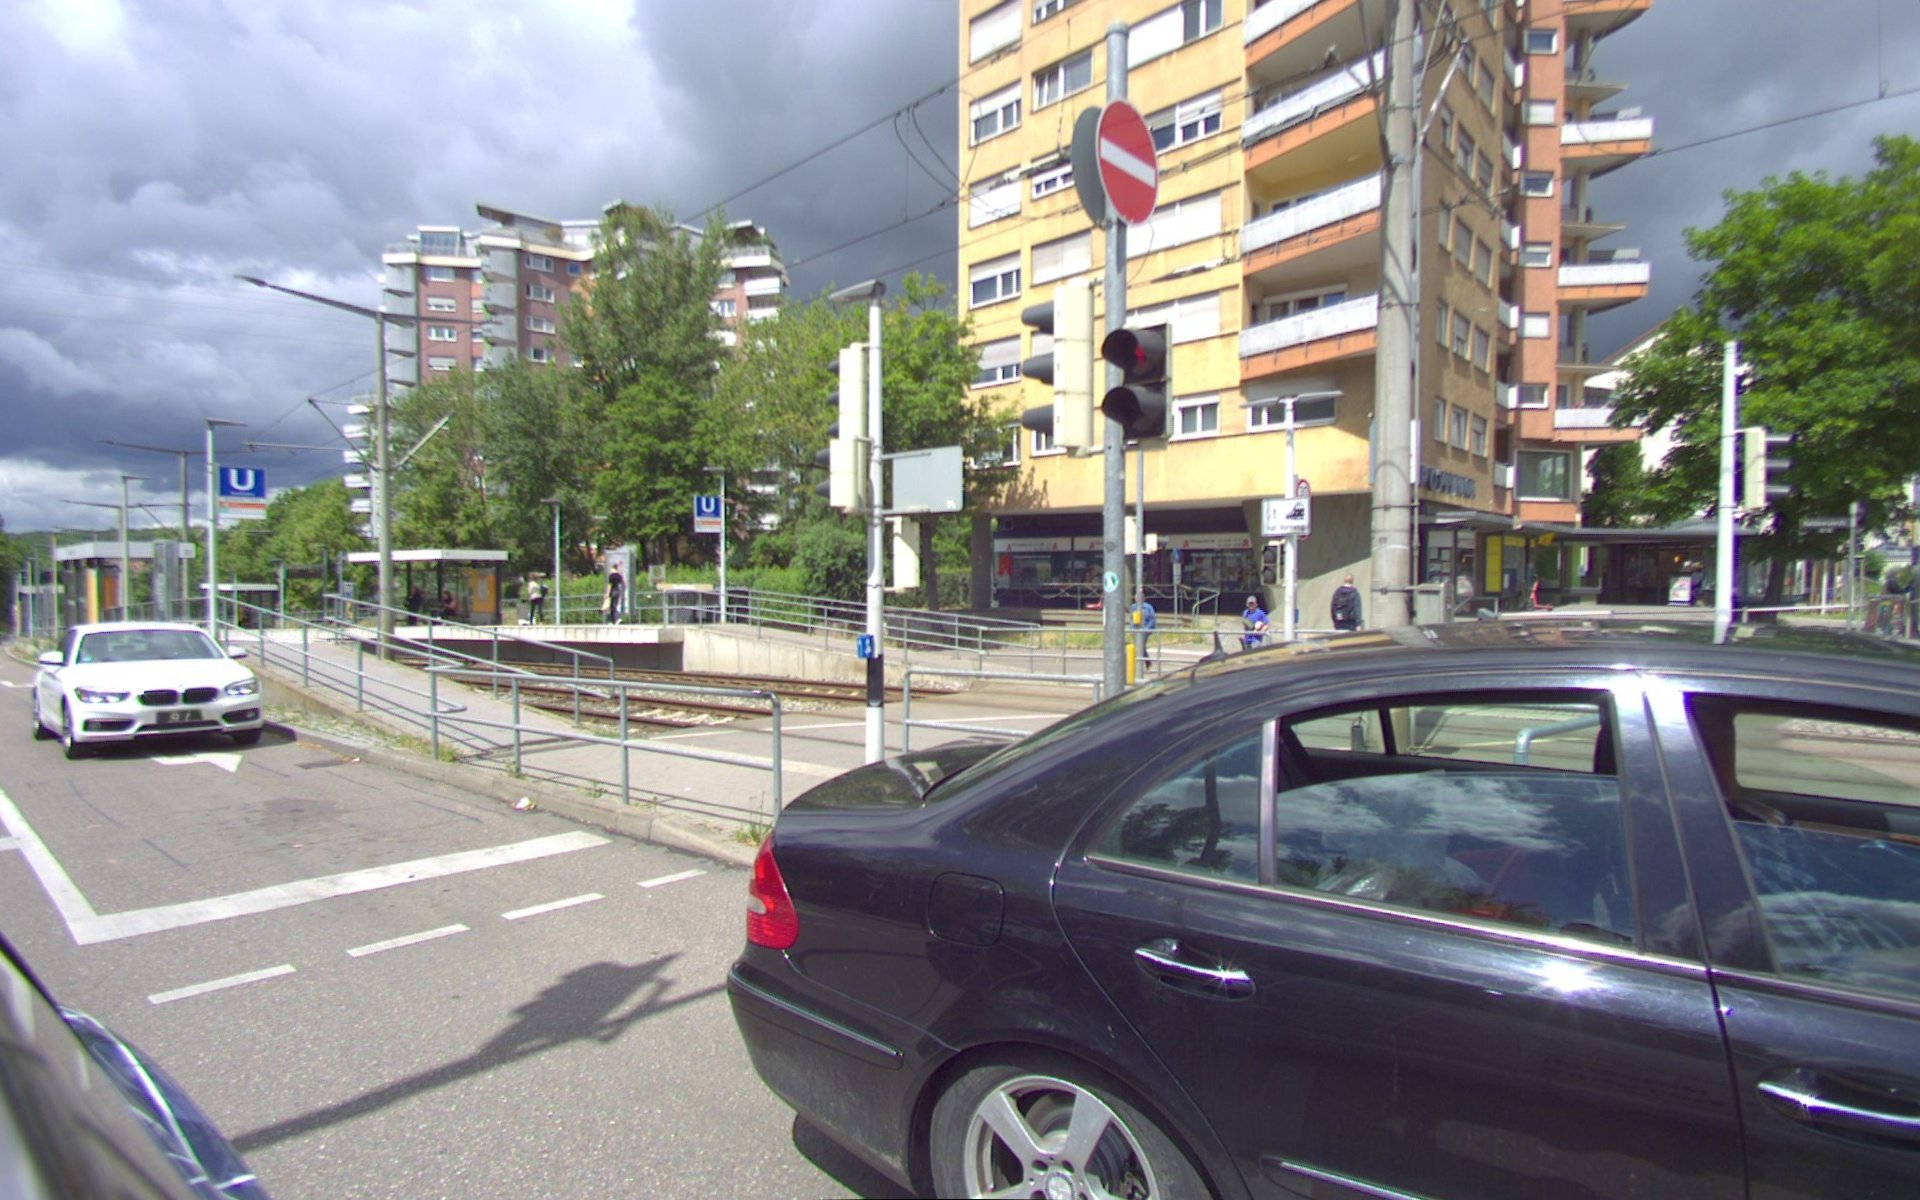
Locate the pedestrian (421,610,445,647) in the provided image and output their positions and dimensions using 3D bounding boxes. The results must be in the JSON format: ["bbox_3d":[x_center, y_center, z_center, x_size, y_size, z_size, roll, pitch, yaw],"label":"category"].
[{"bbox_3d":[-20.406,1.095,39.210,0.658,1.425,0.637,-1,-1,42],"label":"pedestrian"}]

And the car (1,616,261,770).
[{"bbox_3d":[-9.918,0.942,11.985,4.275,1.462,1.770,0,-1,42],"label":"car"}]

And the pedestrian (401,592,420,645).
[{"bbox_3d":[-22.420,0.740,41.268,0.524,2.157,0.608,0,-1,-45],"label":"pedestrian"}]

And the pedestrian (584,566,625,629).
[{"bbox_3d":[-10.199,-0.064,29.034,0.747,1.787,0.854,-1,-1,41],"label":"pedestrian"}]

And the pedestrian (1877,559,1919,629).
[{"bbox_3d":[25.039,-0.147,26.878,0.637,1.825,0.884,-1,-1,14],"label":"pedestrian"}]

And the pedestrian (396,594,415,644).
[{"bbox_3d":[-22.800,0.788,41.616,0.557,2.029,0.510,-1,-1,42],"label":"pedestrian"}]

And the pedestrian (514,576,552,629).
[{"bbox_3d":[-13.310,0.077,31.581,0.747,1.618,0.854,-1,-1,41],"label":"pedestrian"}]

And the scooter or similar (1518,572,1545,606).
[{"bbox_3d":[19.458,-0.363,34.436,0.544,1.102,1.731,-1,-1,37],"label":"scooter or similar"}]

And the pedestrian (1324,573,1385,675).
[{"bbox_3d":[7.786,0.459,19.970,0.853,1.949,0.908,-1,-1,41],"label":"pedestrian"}]

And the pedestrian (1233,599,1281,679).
[{"bbox_3d":[5.865,0.752,19.968,0.649,1.525,0.711,-1,-1,42],"label":"pedestrian"}]

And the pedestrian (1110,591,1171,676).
[{"bbox_3d":[3.628,0.664,20.282,0.910,1.609,0.712,-1,4,38],"label":"pedestrian"}]

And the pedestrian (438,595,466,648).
[{"bbox_3d":[-18.995,0.800,37.835,0.572,1.946,0.761,-1,-1,40],"label":"pedestrian"}]

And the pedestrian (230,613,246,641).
[{"bbox_3d":[-46.054,1.709,64.553,0.763,1.718,0.767,0,-1,-40],"label":"pedestrian"}]

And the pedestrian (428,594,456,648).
[{"bbox_3d":[-19.664,0.781,38.417,0.584,2.029,0.770,-1,-1,42],"label":"pedestrian"}]

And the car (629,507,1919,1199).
[{"bbox_3d":[1.666,0.597,1.963,4.662,1.409,1.955,-1,0,34],"label":"car"}]
